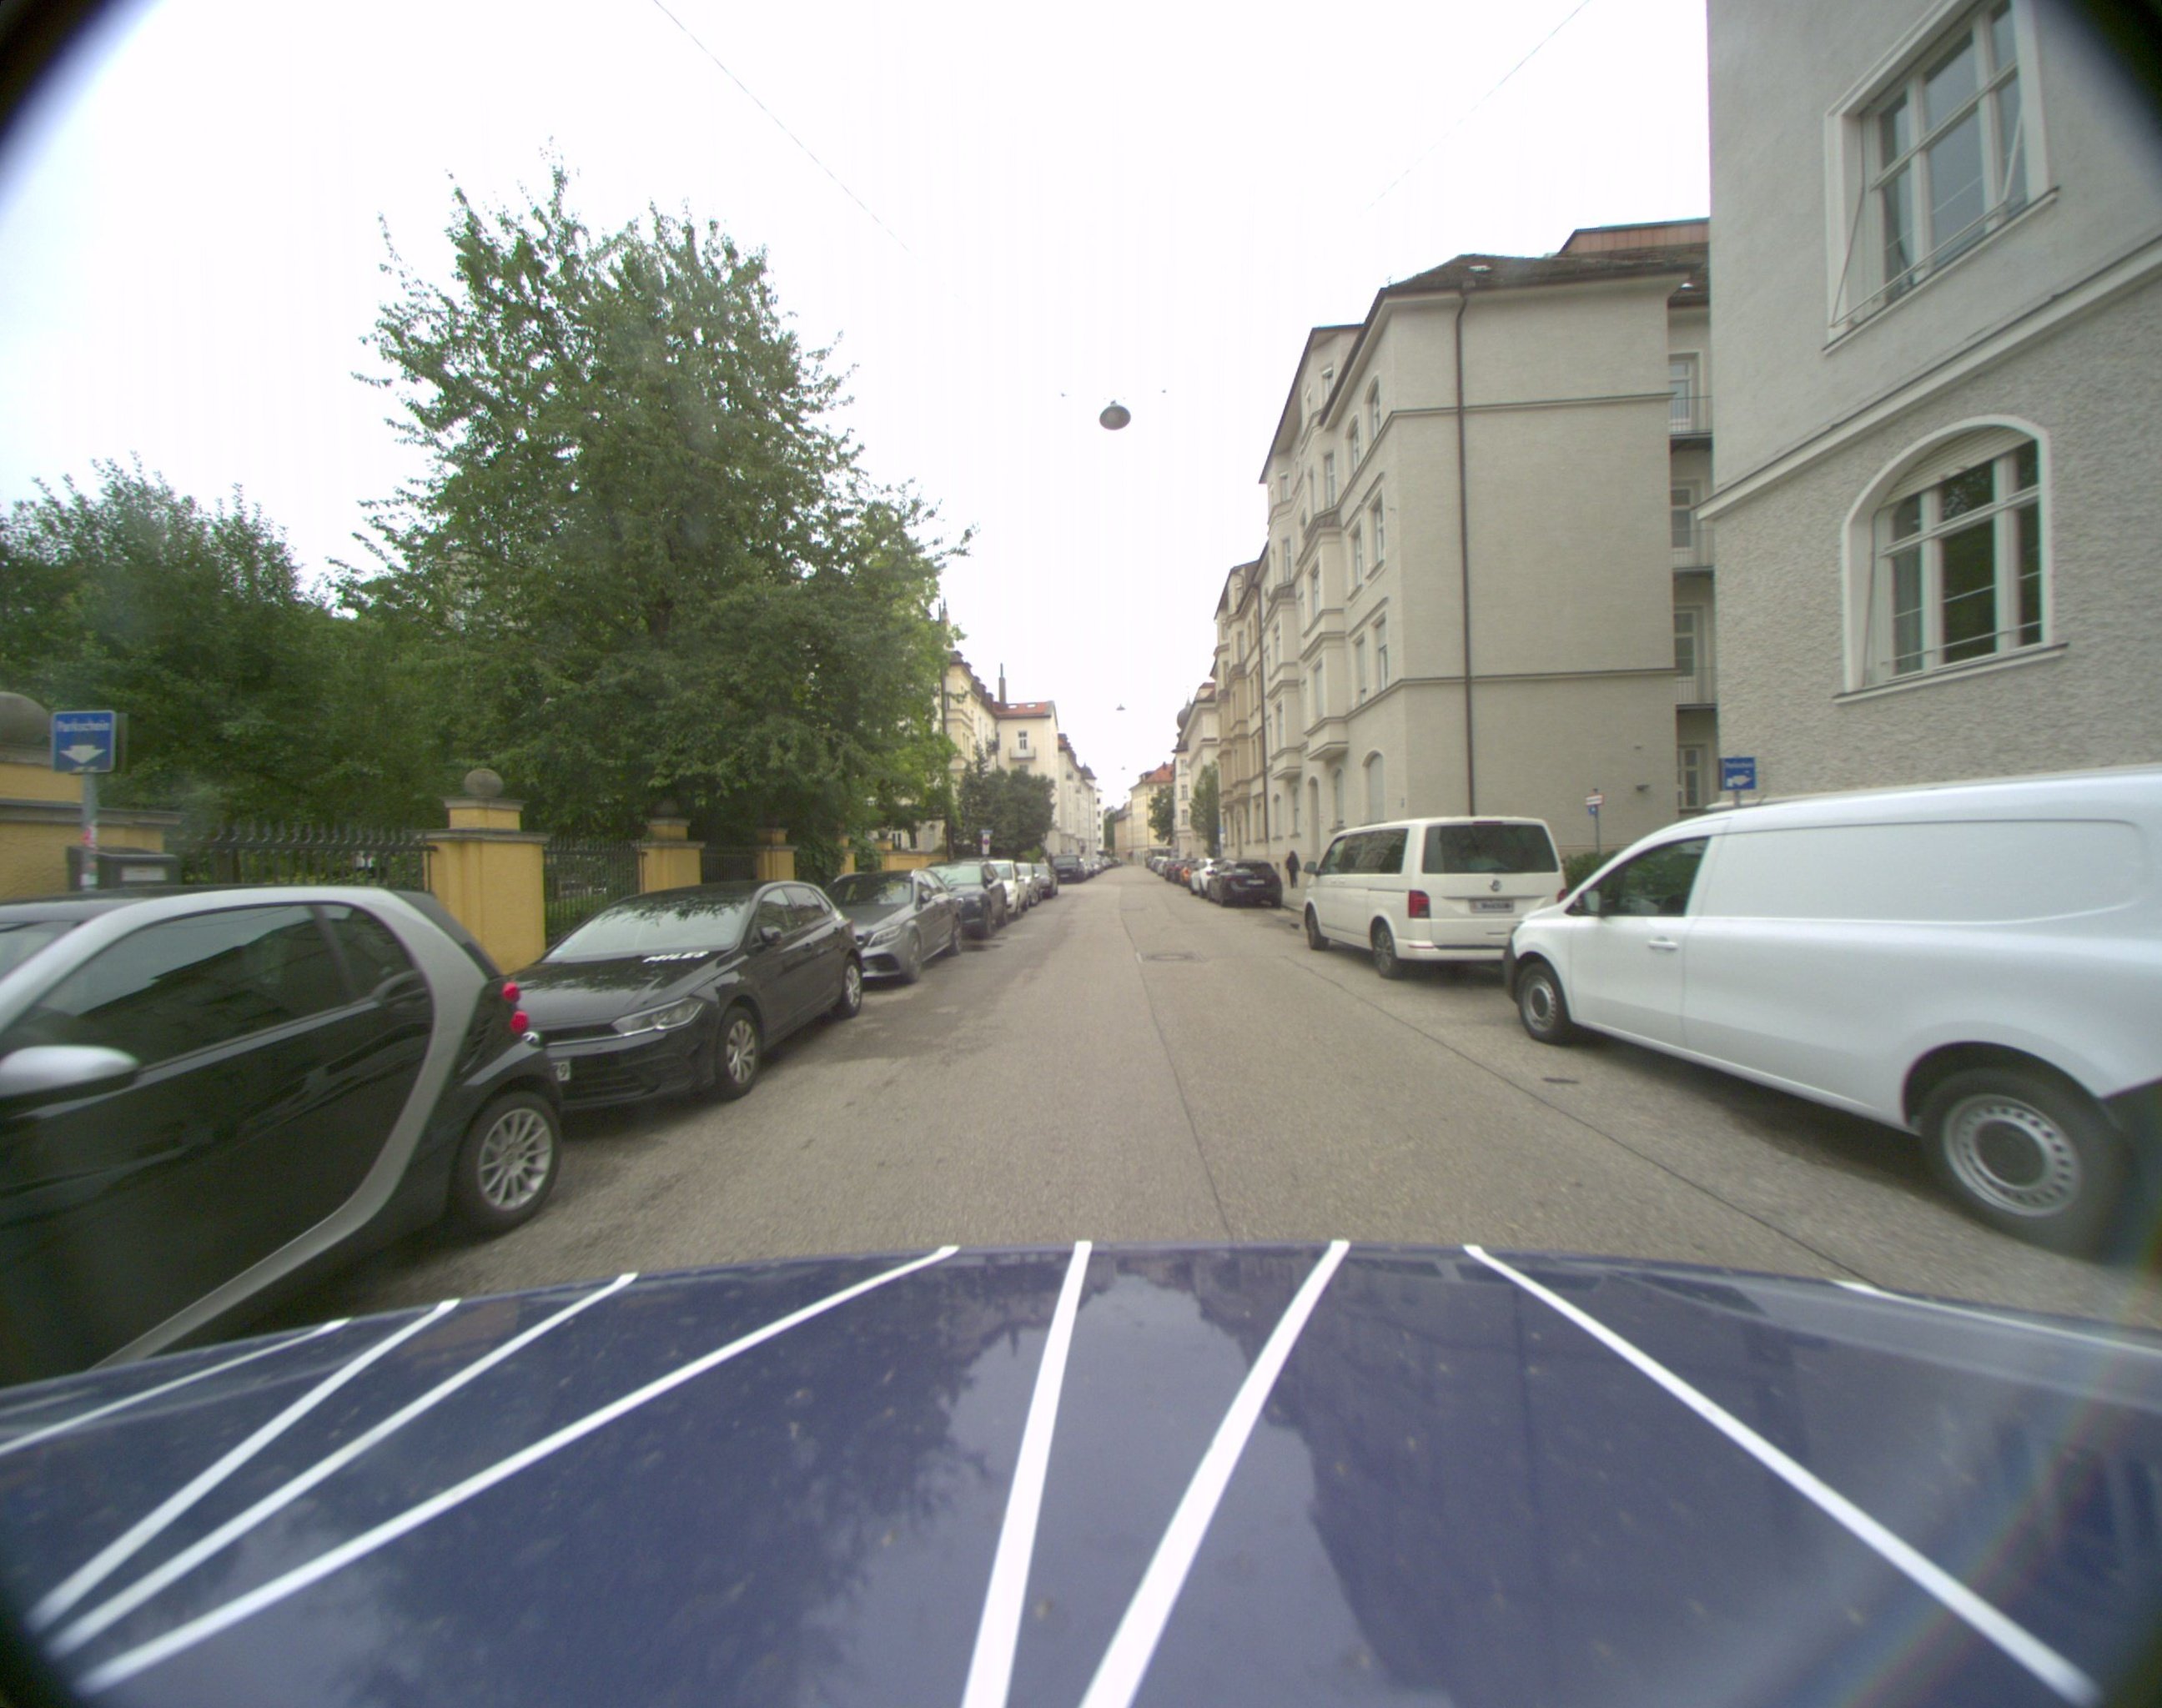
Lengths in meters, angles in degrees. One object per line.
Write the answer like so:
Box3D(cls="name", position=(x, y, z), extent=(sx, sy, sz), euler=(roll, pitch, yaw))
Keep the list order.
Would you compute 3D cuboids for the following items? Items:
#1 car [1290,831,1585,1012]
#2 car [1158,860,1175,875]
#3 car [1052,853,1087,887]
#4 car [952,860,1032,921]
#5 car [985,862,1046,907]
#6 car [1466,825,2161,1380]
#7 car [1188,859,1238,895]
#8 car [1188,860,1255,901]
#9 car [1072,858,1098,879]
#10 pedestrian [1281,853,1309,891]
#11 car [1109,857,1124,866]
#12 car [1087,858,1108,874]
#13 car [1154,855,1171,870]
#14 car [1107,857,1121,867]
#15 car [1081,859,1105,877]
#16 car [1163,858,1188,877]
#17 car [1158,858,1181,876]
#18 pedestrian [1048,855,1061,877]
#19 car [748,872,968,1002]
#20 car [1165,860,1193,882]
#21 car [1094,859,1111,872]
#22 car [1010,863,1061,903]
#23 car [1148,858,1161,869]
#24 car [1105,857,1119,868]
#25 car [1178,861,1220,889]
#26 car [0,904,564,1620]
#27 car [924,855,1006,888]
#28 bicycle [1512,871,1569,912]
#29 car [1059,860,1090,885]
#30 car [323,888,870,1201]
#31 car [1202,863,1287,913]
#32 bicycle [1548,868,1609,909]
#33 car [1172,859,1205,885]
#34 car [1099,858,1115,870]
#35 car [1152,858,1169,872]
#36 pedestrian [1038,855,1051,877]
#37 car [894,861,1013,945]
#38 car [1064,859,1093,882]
Box3D(cls="car", position=(4.486, 0.733, 10.597), extent=(1.860, 1.927, 4.958), euler=(0, 0, 1))
Box3D(cls="car", position=(8.433, 1.285, 75.097), extent=(1.626, 1.421, 3.691), euler=(0, 0, 5))
Box3D(cls="car", position=(-0.699, 1.026, 49.736), extent=(1.998, 1.949, 4.434), euler=(-5, -1, 1))
Box3D(cls="car", position=(-2.494, 0.977, 22.295), extent=(1.717, 1.561, 4.320), euler=(-1, 0, 1))
Box3D(cls="car", position=(-2.263, 1.024, 27.203), extent=(1.717, 1.445, 4.184), euler=(-1, 0, 1))
Box3D(cls="car", position=(4.365, 0.800, 4.435), extent=(1.751, 1.778, 5.037), euler=(0, 0, 1))
Box3D(cls="car", position=(5.787, 0.975, 33.715), extent=(1.809, 1.455, 3.939), euler=(0, 0, 4))
Box3D(cls="car", position=(5.289, 0.953, 29.168), extent=(1.860, 1.455, 4.379), euler=(0, 0, 1))
Box3D(cls="car", position=(0.377, 1.232, 64.847), extent=(1.998, 1.584, 4.300), euler=(-5, -1, 2))
Box3D(cls="pedestrian", position=(9.092, 0.749, 32.307), extent=(0.876, 1.598, 1.052), euler=(-1, 0, 2))
Box3D(cls="car", position=(6.444, 1.327, 137.475), extent=(1.997, 1.584, 4.302), euler=(-5, -1, 8))
Box3D(cls="car", position=(1.932, 1.379, 87.889), extent=(1.998, 1.584, 4.301), euler=(-5, -1, 5))
Box3D(cls="car", position=(8.539, 0.911, 79.881), extent=(1.626, 1.522, 3.690), euler=(0, 0, 3))
Box3D(cls="car", position=(5.793, 1.460, 132.631), extent=(1.998, 1.584, 4.430), euler=(-5, -1, 6))
Box3D(cls="car", position=(1.200, 1.378, 77.034), extent=(1.998, 1.584, 4.301), euler=(-5, -1, 5))
Box3D(cls="car", position=(7.432, 1.050, 60.061), extent=(1.627, 1.421, 3.690), euler=(0, 0, 1))
Box3D(cls="car", position=(7.480, 1.083, 64.601), extent=(1.627, 1.421, 3.690), euler=(0, 0, 1))
Box3D(cls="pedestrian", position=(-2.099, 0.940, 60.621), extent=(0.876, 1.745, 1.052), euler=(-1, 0, 2))
Box3D(cls="car", position=(-2.931, 1.021, 11.086), extent=(1.696, 1.406, 4.516), euler=(-1, 0, 2))
Box3D(cls="car", position=(6.414, 1.088, 50.004), extent=(1.626, 1.421, 3.943), euler=(0, 0, 5))
Box3D(cls="car", position=(2.897, 1.492, 101.843), extent=(1.998, 1.584, 4.301), euler=(-5, -1, 5))
Box3D(cls="car", position=(-1.832, 1.154, 31.941), extent=(1.717, 1.445, 4.956), euler=(-1, 0, 1))
Box3D(cls="car", position=(10.343, 1.262, 106.451), extent=(1.626, 1.522, 3.921), euler=(0, 0, 3))
Box3D(cls="car", position=(5.243, 1.443, 127.218), extent=(1.998, 1.672, 4.301), euler=(-5, -1, 6))
Box3D(cls="car", position=(6.080, 1.045, 39.424), extent=(1.809, 1.355, 3.731), euler=(0, 0, 4))
Box3D(cls="car", position=(-3.301, 1.052, 2.179), extent=(1.511, 1.557, 2.870), euler=(-3, 0, 2))
Box3D(cls="car", position=(-6.892, 1.053, 45.456), extent=(4.677, 1.860, 1.743), euler=(-1, -2, -2))
Box3D(cls="bicycle", position=(12.025, 0.968, 19.958), extent=(0.448, 0.979, 1.780), euler=(-2, 0, 2))
Box3D(cls="car", position=(-0.430, 1.294, 54.744), extent=(1.998, 1.584, 3.856), euler=(-5, -1, 1))
Box3D(cls="car", position=(-3.136, 1.107, 6.064), extent=(1.696, 1.406, 4.036), euler=(-3, 0, 0))
Box3D(cls="car", position=(5.072, 1.009, 24.114), extent=(1.860, 1.404, 4.379), euler=(1, 0, 1))
Box3D(cls="bicycle", position=(12.975, 0.884, 19.868), extent=(0.448, 0.979, 1.780), euler=(-2, 0, 2))
Box3D(cls="car", position=(6.239, 1.010, 44.349), extent=(1.626, 1.447, 3.942), euler=(0, 0, 4))
Box3D(cls="car", position=(3.864, 1.464, 112.536), extent=(1.998, 1.584, 4.301), euler=(-5, -1, 5))
Box3D(cls="car", position=(8.921, 1.272, 85.314), extent=(1.626, 1.522, 3.921), euler=(0, 0, 3))
Box3D(cls="pedestrian", position=(-2.912, 0.939, 60.716), extent=(0.876, 1.680, 1.052), euler=(-1, 0, 2))
Box3D(cls="car", position=(-2.672, 0.978, 17.018), extent=(1.717, 1.561, 4.692), euler=(-1, 0, 1))
Box3D(cls="car", position=(-0.181, 1.291, 59.911), extent=(1.998, 1.642, 4.449), euler=(-5, -1, 2))
